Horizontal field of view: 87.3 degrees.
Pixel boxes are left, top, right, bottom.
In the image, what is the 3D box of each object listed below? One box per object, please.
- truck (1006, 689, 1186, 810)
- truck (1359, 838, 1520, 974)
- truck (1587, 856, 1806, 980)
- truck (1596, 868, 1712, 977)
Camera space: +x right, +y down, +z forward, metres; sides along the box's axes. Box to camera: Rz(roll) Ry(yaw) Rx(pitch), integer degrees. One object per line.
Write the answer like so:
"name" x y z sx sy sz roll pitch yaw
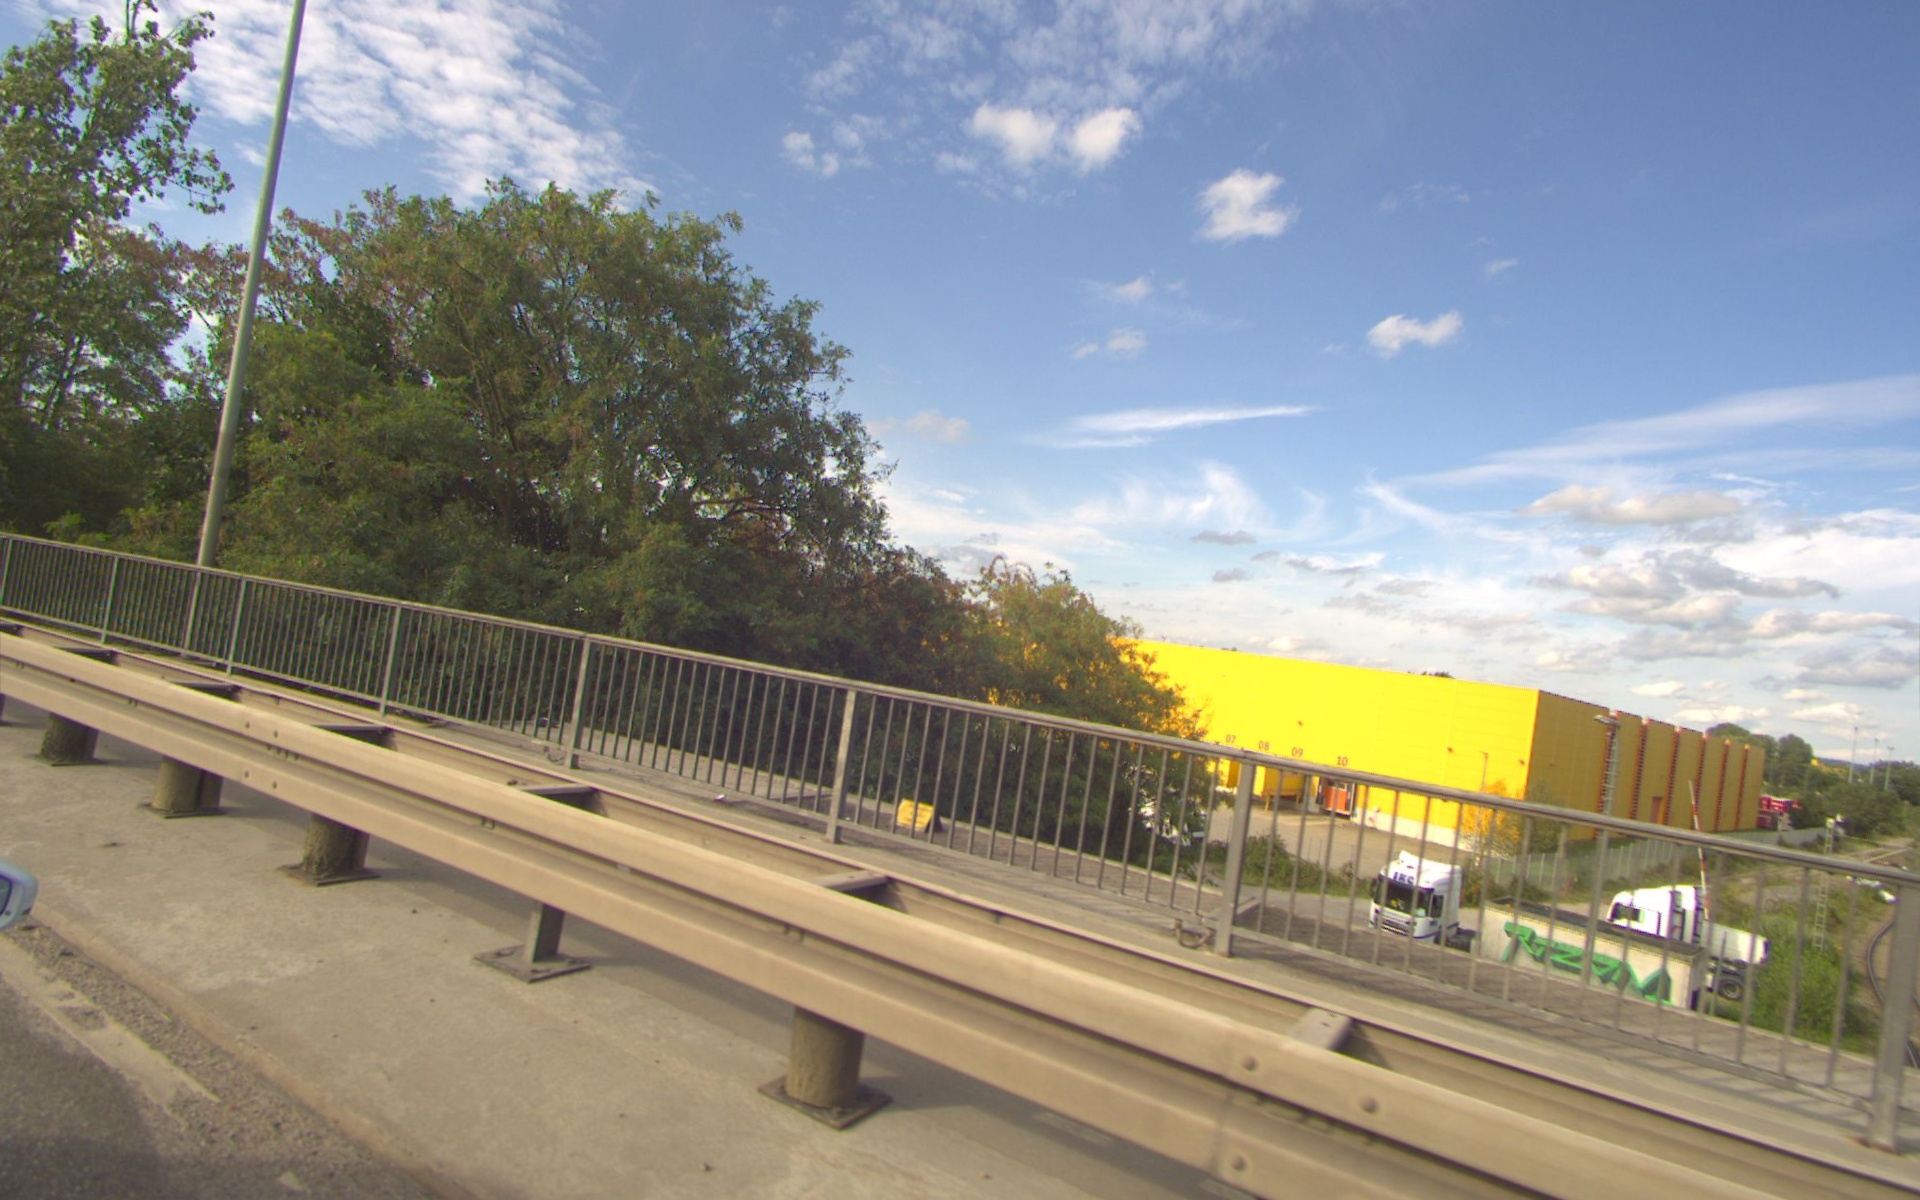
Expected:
"truck" 8.435 9.303 64.311 3.618 5.727 11.140 7 -1 -43
"truck" 20.365 12.641 42.445 8.563 4.141 2.634 8 0 -42
"truck" 37.381 16.019 51.414 2.025 3.422 8.507 7 1 -45
"truck" 33.436 15.324 48.336 7.185 3.662 2.634 8 0 -42
